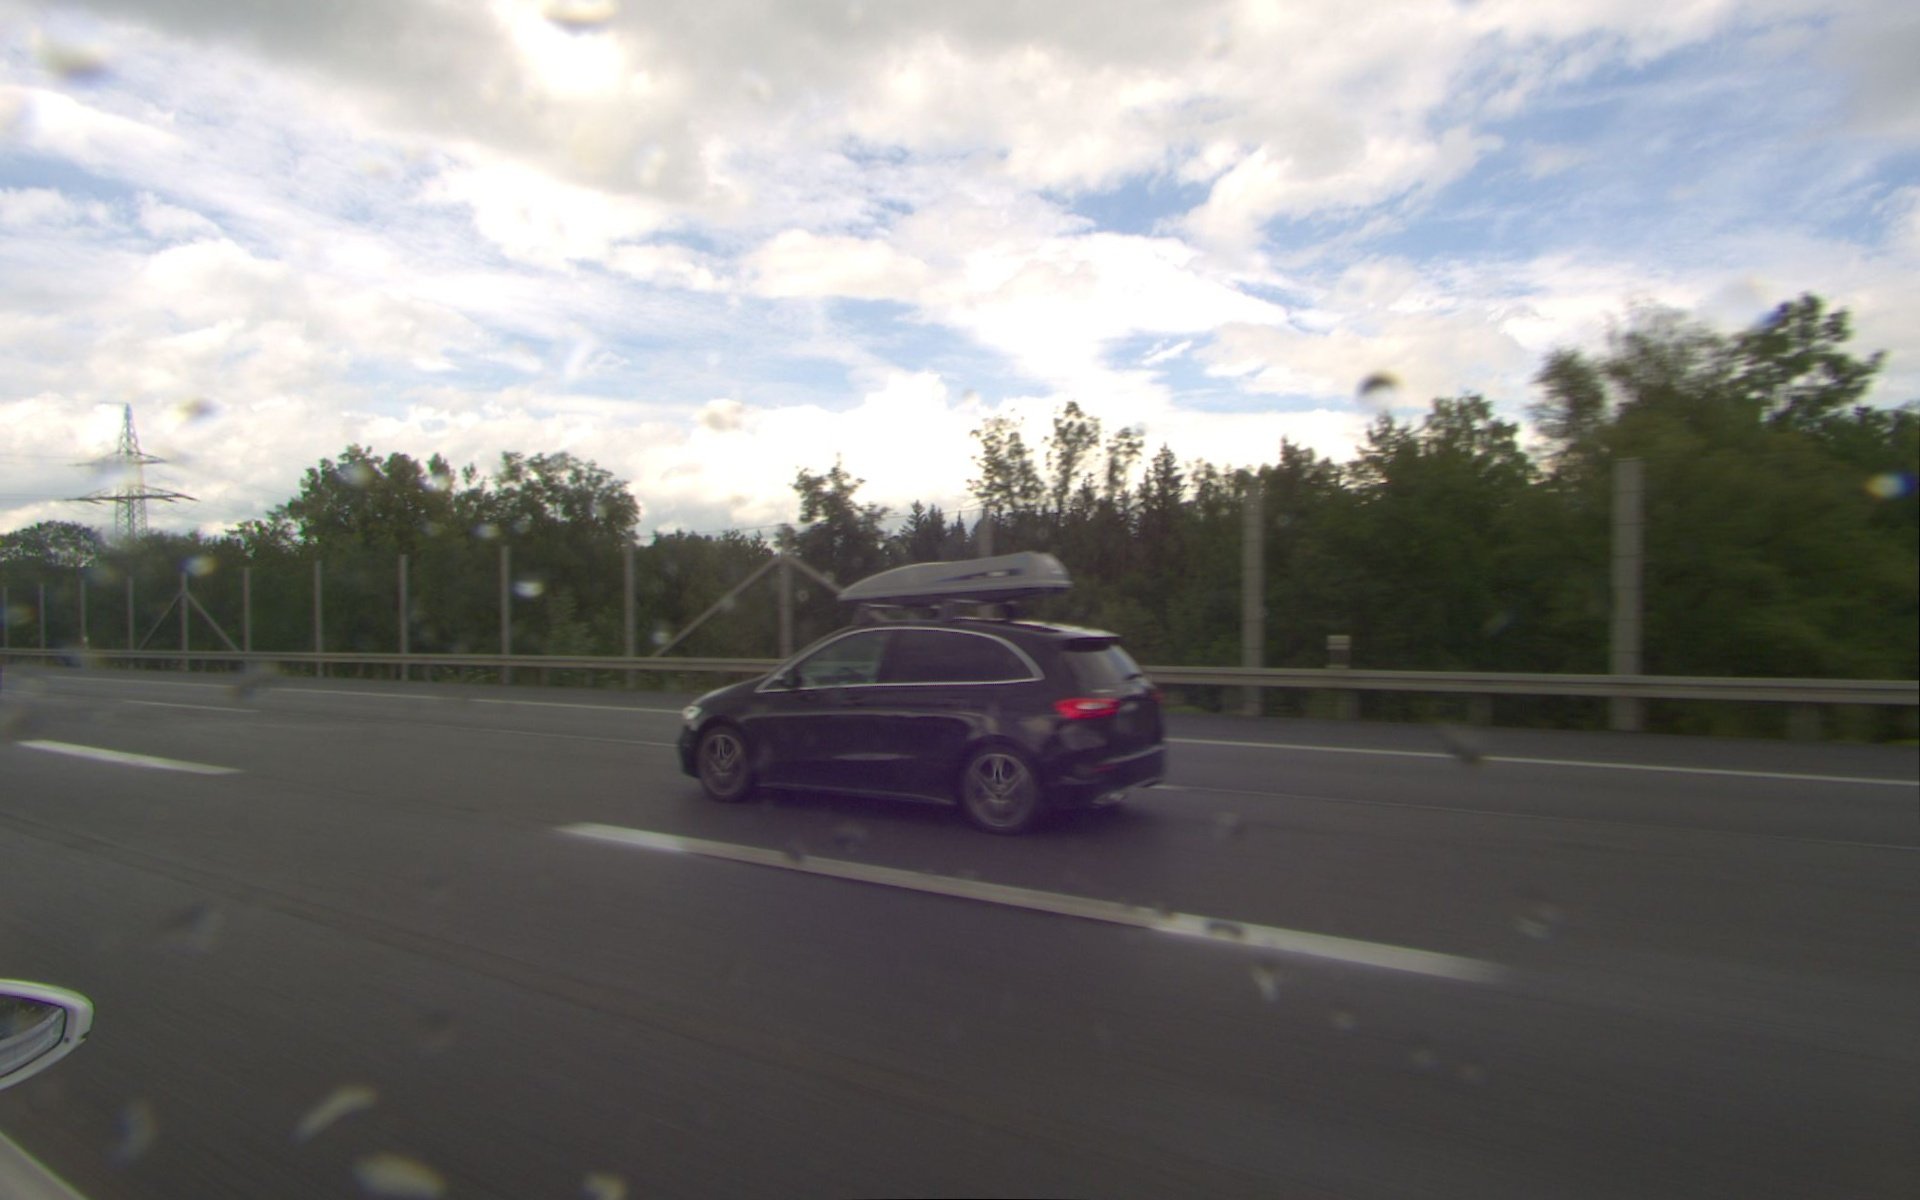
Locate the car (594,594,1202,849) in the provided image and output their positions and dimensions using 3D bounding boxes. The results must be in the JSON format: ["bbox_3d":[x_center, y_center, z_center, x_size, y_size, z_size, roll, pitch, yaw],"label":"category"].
[{"bbox_3d":[-0.680,0.828,8.639,4.994,1.626,2.101,-1,-1,33],"label":"car"}]

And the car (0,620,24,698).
[{"bbox_3d":[-23.705,1.325,22.842,4.931,1.721,2.044,-1,-2,29],"label":"car"}]
